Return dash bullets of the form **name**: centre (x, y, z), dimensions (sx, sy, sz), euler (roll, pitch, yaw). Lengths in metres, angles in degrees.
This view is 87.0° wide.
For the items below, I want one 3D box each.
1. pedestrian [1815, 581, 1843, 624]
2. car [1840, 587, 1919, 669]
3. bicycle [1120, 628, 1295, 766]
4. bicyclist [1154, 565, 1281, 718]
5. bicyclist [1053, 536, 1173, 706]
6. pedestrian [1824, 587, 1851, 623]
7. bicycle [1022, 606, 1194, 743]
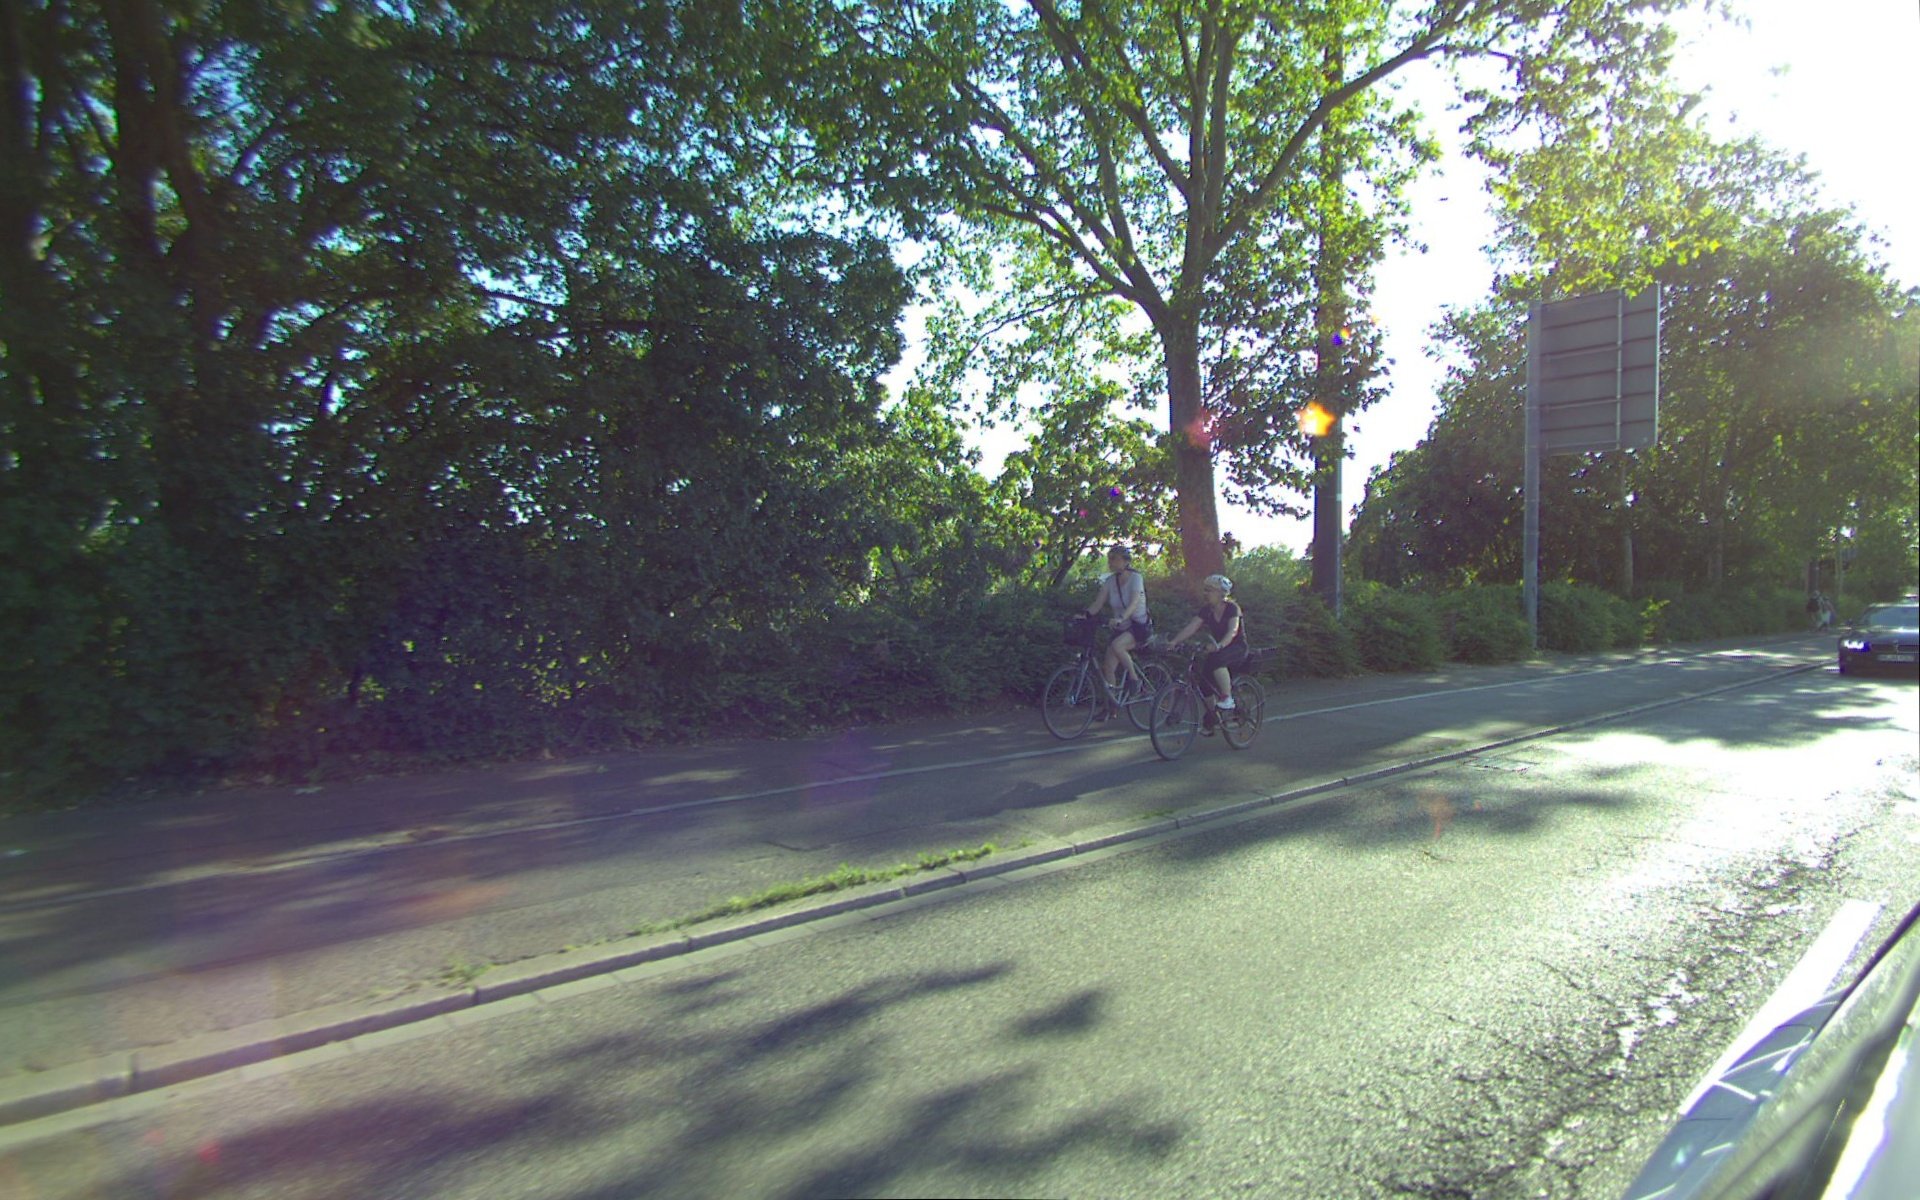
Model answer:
- **pedestrian**: centre (35.819, 0.101, 41.719), dimensions (0.799, 1.729, 0.723), euler (0, 2, -41)
- **car**: centre (19.292, 0.489, 20.255), dimensions (4.505, 1.485, 1.869), euler (-1, 1, -40)
- **bicycle**: centre (2.185, 0.793, 8.824), dimensions (1.757, 0.986, 0.566), euler (-1, 3, -42)
- **bicyclist**: centre (2.252, 0.333, 8.842), dimensions (0.875, 1.241, 0.642), euler (0, 3, -41)
- **bicyclist**: centre (1.462, 0.177, 9.684), dimensions (0.875, 1.527, 0.687), euler (0, 3, -41)
- **pedestrian**: centre (37.172, 0.198, 42.880), dimensions (0.709, 1.498, 0.724), euler (0, 2, -41)
- **bicycle**: centre (1.450, 0.664, 9.709), dimensions (1.782, 1.134, 0.623), euler (-1, 3, -42)
